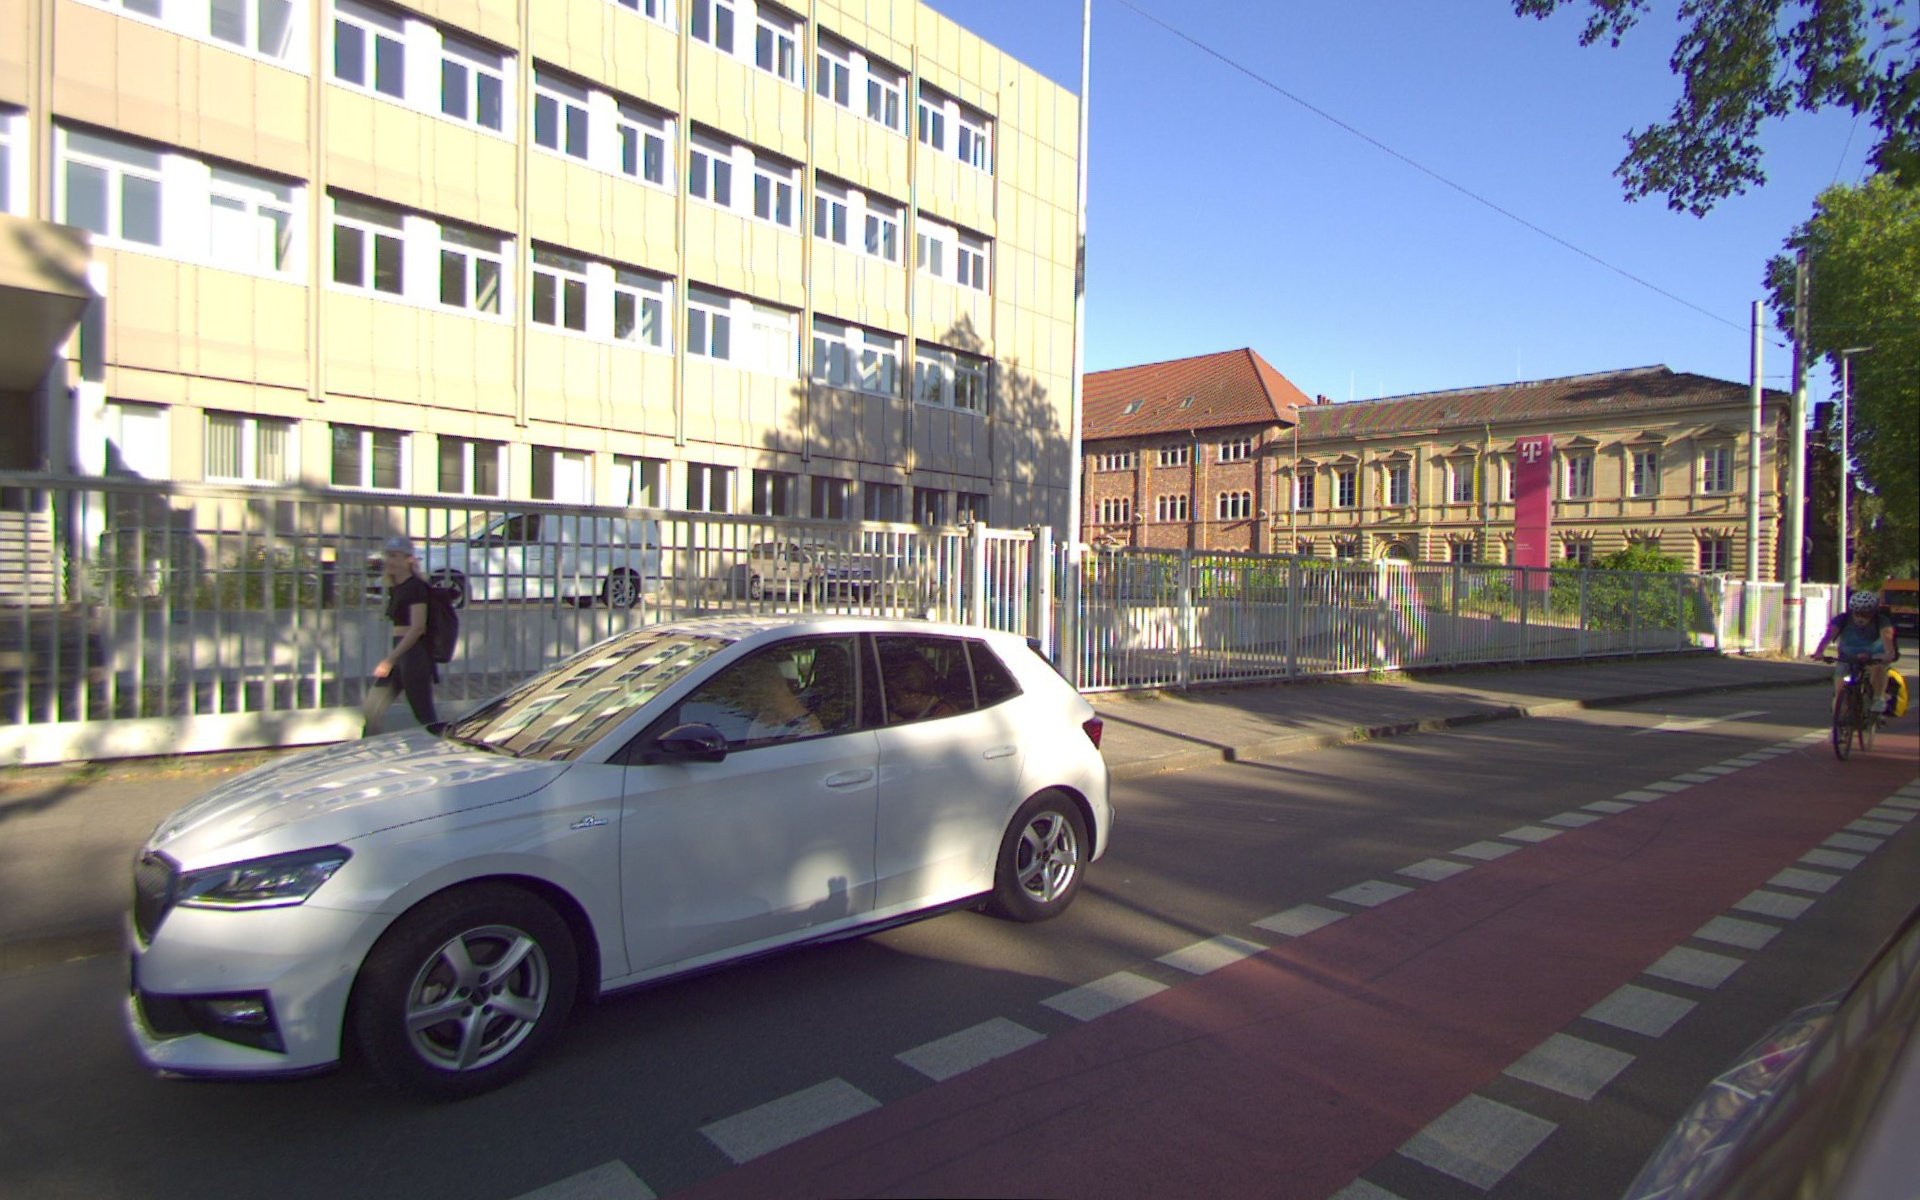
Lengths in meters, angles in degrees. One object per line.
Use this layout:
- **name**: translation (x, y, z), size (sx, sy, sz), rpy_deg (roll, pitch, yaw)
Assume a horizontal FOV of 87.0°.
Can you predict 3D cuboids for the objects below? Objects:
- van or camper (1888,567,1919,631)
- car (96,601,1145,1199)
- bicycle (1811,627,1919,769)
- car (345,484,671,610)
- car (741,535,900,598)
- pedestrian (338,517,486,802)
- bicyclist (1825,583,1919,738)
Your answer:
- **van or camper**: translation (41.134, -0.063, 43.247), size (1.994, 2.626, 5.537), rpy_deg (0, 0, 44)
- **car**: translation (-1.106, 0.725, 4.406), size (4.005, 1.406, 1.703), rpy_deg (0, 0, -42)
- **bicycle**: translation (9.039, 0.891, 9.933), size (2.268, 1.158, 0.763), rpy_deg (0, 1, -43)
- **car**: translation (-7.592, -0.823, 17.334), size (1.994, 1.865, 4.709), rpy_deg (2, 2, 44)
- **car**: translation (-3.930, -0.922, 27.999), size (4.563, 1.601, 1.968), rpy_deg (2, 2, 44)
- **pedestrian**: translation (-3.684, 0.365, 6.807), size (0.757, 1.784, 0.592), rpy_deg (0, 1, -41)
- **bicyclist**: translation (9.046, 0.559, 9.952), size (0.845, 1.440, 0.727), rpy_deg (0, 0, -43)
